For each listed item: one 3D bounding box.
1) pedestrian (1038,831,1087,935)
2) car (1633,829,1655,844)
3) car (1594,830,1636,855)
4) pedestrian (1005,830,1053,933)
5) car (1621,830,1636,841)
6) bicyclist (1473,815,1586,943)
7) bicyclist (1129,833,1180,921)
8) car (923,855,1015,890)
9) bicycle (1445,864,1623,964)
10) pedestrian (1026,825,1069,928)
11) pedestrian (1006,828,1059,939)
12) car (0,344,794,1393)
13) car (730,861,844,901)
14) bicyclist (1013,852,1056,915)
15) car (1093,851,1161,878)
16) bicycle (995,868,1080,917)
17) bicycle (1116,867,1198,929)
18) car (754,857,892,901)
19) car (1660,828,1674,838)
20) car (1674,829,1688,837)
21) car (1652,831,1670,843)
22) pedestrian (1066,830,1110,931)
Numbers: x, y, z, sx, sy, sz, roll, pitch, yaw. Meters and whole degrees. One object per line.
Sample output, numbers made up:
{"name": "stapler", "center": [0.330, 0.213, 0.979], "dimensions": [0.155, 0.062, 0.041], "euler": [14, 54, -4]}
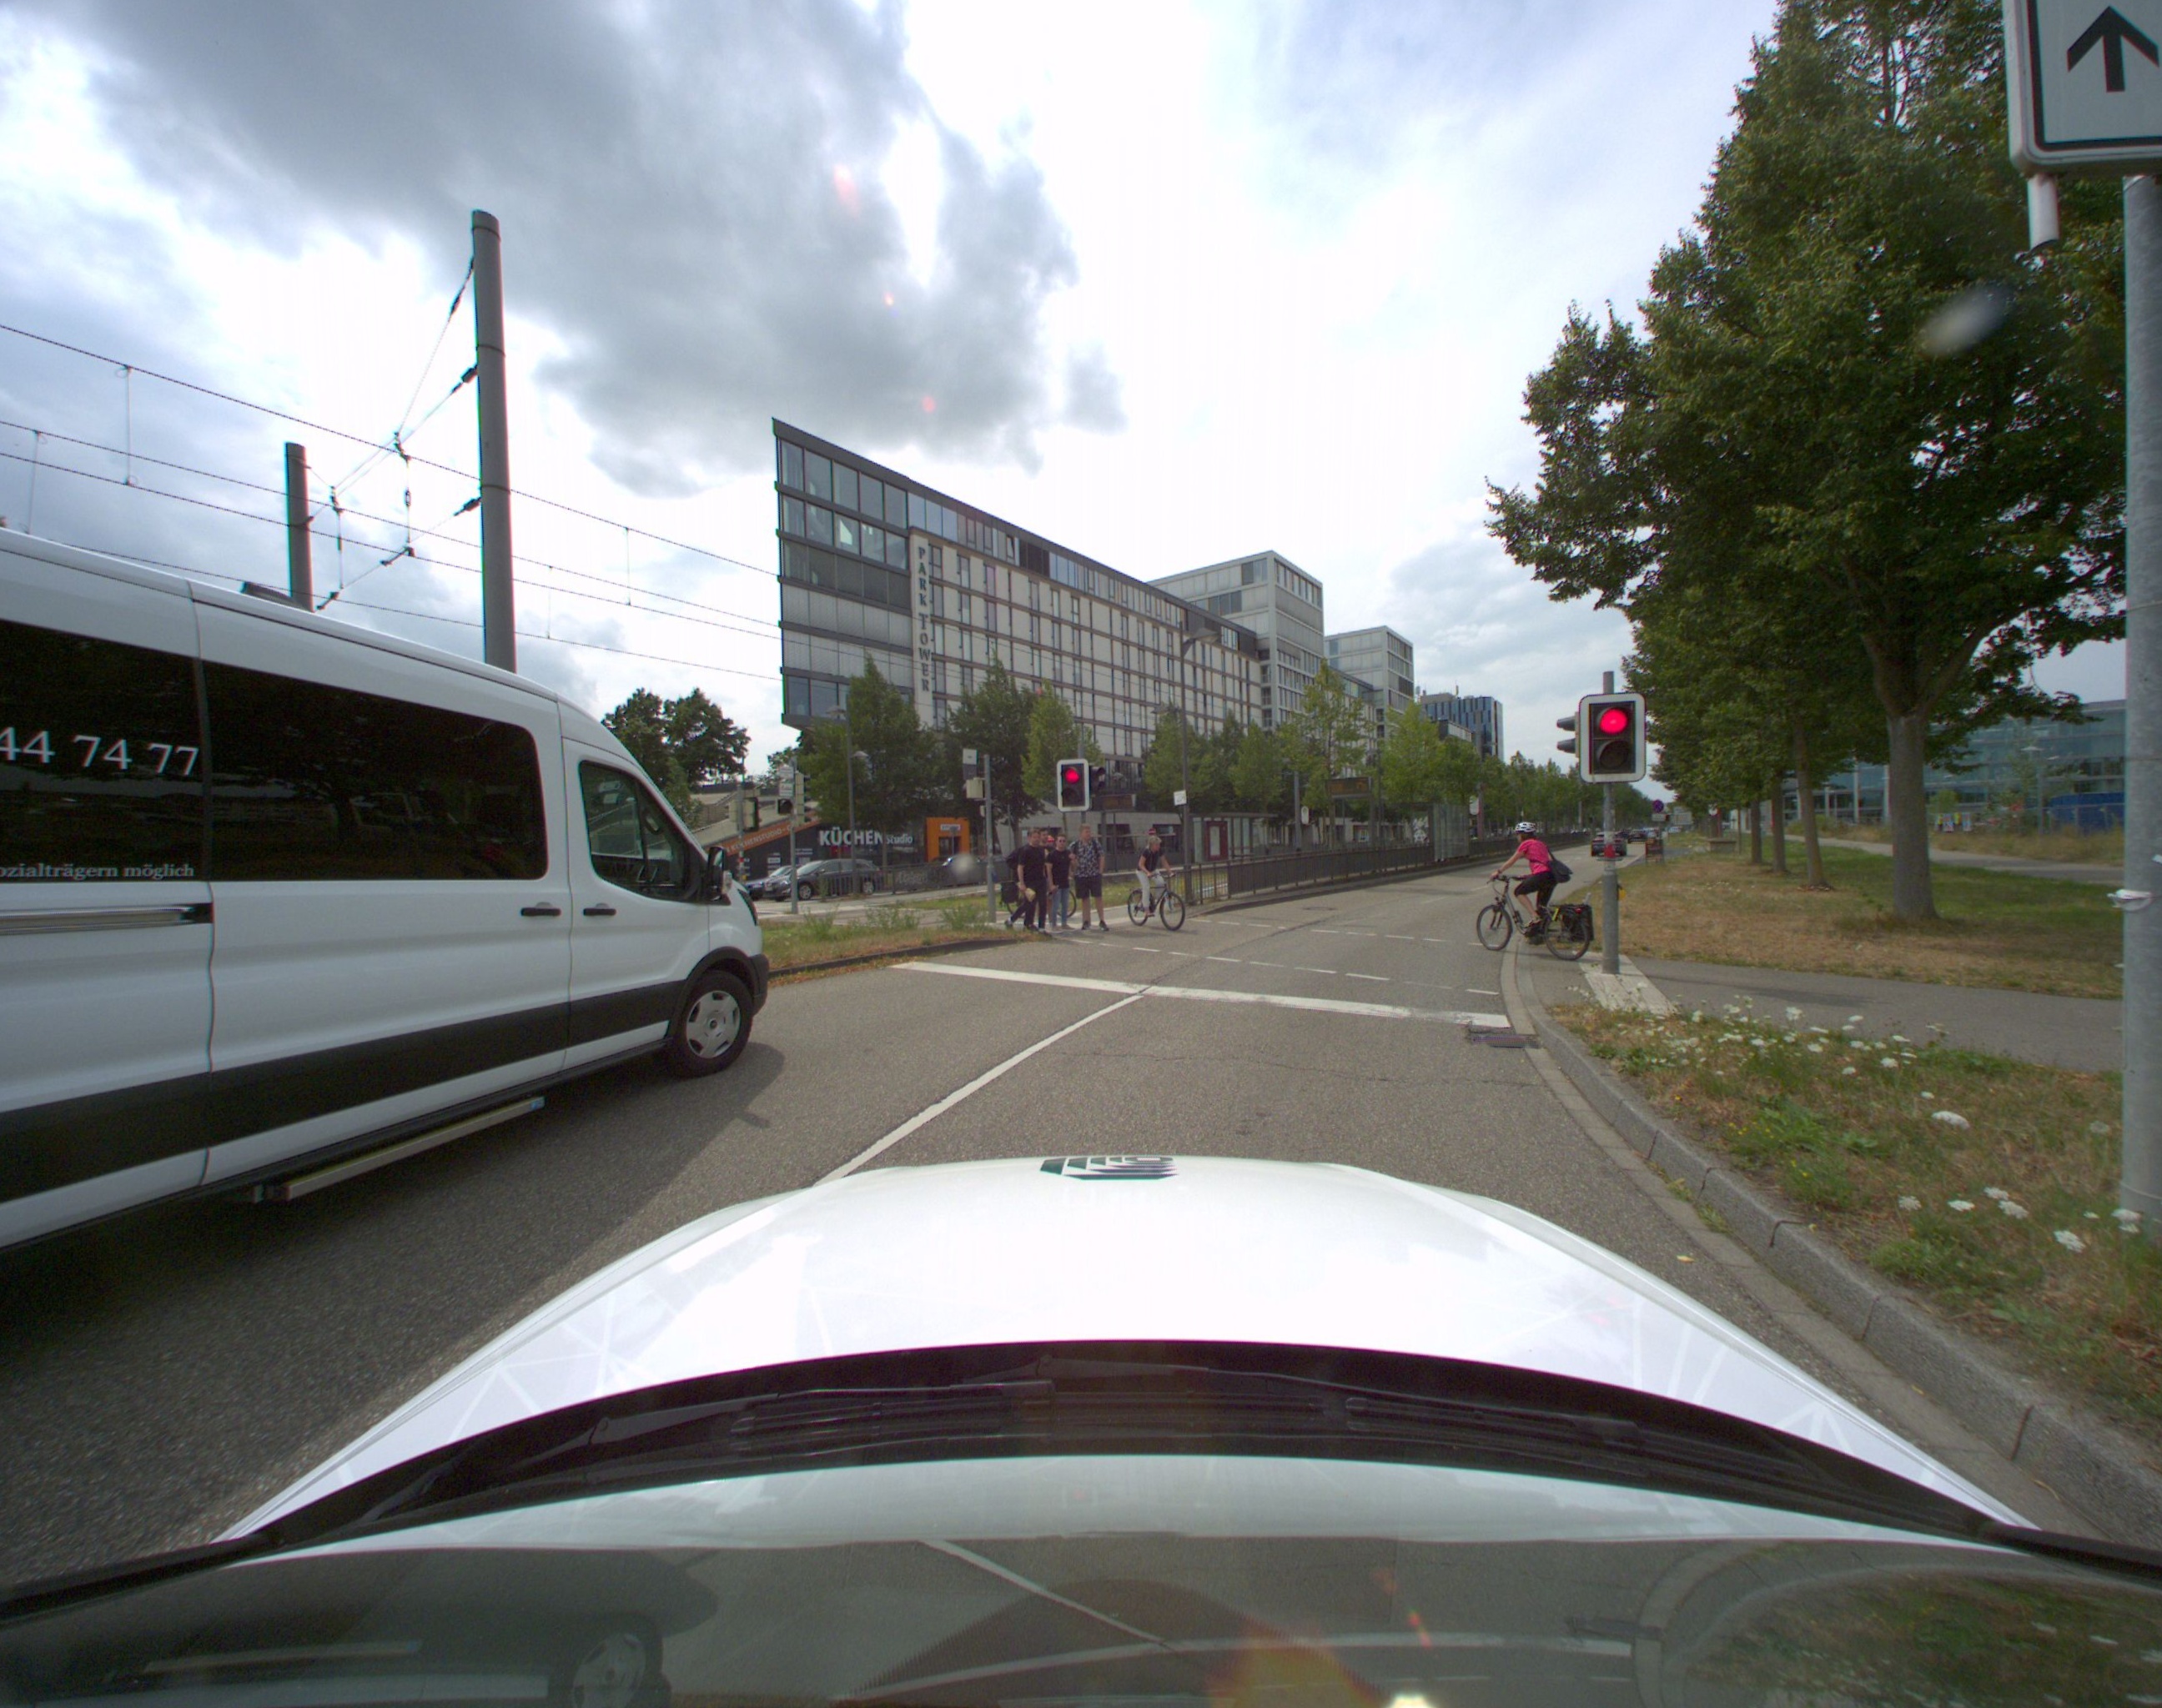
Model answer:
{"name": "pedestrian", "center": [-0.323, 0.491, 14.298], "dimensions": [0.546, 1.781, 0.695], "euler": [-1, 0, 32]}
{"name": "car", "center": [59.972, -1.885, 86.776], "dimensions": [1.719, 1.519, 4.173], "euler": [-1, 1, 37]}
{"name": "car", "center": [35.126, -0.755, 53.538], "dimensions": [2.038, 1.551, 4.504], "euler": [-1, 1, 36]}
{"name": "pedestrian", "center": [-0.917, 0.476, 14.498], "dimensions": [0.546, 1.781, 0.637], "euler": [-1, 0, 32]}
{"name": "car", "center": [78.649, -2.644, 116.953], "dimensions": [1.710, 1.534, 4.400], "euler": [-1, 1, 36]}
{"name": "bicyclist", "center": [6.055, 0.309, 11.028], "dimensions": [0.793, 1.627, 1.040], "euler": [-2, 1, -24]}
{"name": "bicyclist", "center": [1.362, 0.413, 15.157], "dimensions": [0.563, 1.580, 0.757], "euler": [-1, 0, -35]}
{"name": "car", "center": [-5.119, 0.812, 37.571], "dimensions": [1.825, 1.458, 4.025], "euler": [-1, 1, 39]}
{"name": "bicycle", "center": [6.054, 0.747, 11.039], "dimensions": [0.792, 1.168, 2.025], "euler": [-2, 1, -24]}
{"name": "pedestrian", "center": [-0.621, 0.410, 15.104], "dimensions": [0.546, 1.862, 0.534], "euler": [-1, 0, 32]}
{"name": "pedestrian", "center": [-0.809, 0.476, 13.598], "dimensions": [0.546, 1.781, 0.695], "euler": [-1, 0, 32]}
{"name": "car", "center": [-3.650, 0.037, 3.498], "dimensions": [2.114, 2.697, 5.644], "euler": [-2, 0, 8]}
{"name": "car", "center": [-11.973, 1.050, 33.342], "dimensions": [1.825, 1.458, 4.026], "euler": [-1, 1, 38]}
{"name": "bicyclist", "center": [-1.005, 0.631, 17.696], "dimensions": [0.667, 1.317, 0.644], "euler": [-1, 0, 26]}
{"name": "car", "center": [2.667, 0.575, 46.632], "dimensions": [1.825, 1.458, 4.025], "euler": [-1, 1, 39]}
{"name": "bicycle", "center": [-0.948, 0.817, 17.690], "dimensions": [1.734, 1.007, 0.658], "euler": [-1, 0, 26]}
{"name": "bicycle", "center": [1.379, 0.782, 15.131], "dimensions": [0.551, 1.058, 1.695], "euler": [-1, 0, -35]}
{"name": "car", "center": [-9.629, 0.885, 30.737], "dimensions": [1.825, 1.458, 4.768], "euler": [-1, 1, 38]}
{"name": "car", "center": [91.383, -3.271, 127.056], "dimensions": [1.778, 1.497, 4.143], "euler": [-1, 1, 35]}
{"name": "car", "center": [123.507, -4.337, 167.612], "dimensions": [1.974, 1.618, 4.782], "euler": [-1, 0, 40]}
{"name": "car", "center": [75.798, -2.197, 106.509], "dimensions": [1.807, 1.462, 4.288], "euler": [-1, 1, 35]}
{"name": "pedestrian", "center": [0.132, 0.464, 14.820], "dimensions": [0.546, 1.781, 0.584], "euler": [-1, 0, 32]}
